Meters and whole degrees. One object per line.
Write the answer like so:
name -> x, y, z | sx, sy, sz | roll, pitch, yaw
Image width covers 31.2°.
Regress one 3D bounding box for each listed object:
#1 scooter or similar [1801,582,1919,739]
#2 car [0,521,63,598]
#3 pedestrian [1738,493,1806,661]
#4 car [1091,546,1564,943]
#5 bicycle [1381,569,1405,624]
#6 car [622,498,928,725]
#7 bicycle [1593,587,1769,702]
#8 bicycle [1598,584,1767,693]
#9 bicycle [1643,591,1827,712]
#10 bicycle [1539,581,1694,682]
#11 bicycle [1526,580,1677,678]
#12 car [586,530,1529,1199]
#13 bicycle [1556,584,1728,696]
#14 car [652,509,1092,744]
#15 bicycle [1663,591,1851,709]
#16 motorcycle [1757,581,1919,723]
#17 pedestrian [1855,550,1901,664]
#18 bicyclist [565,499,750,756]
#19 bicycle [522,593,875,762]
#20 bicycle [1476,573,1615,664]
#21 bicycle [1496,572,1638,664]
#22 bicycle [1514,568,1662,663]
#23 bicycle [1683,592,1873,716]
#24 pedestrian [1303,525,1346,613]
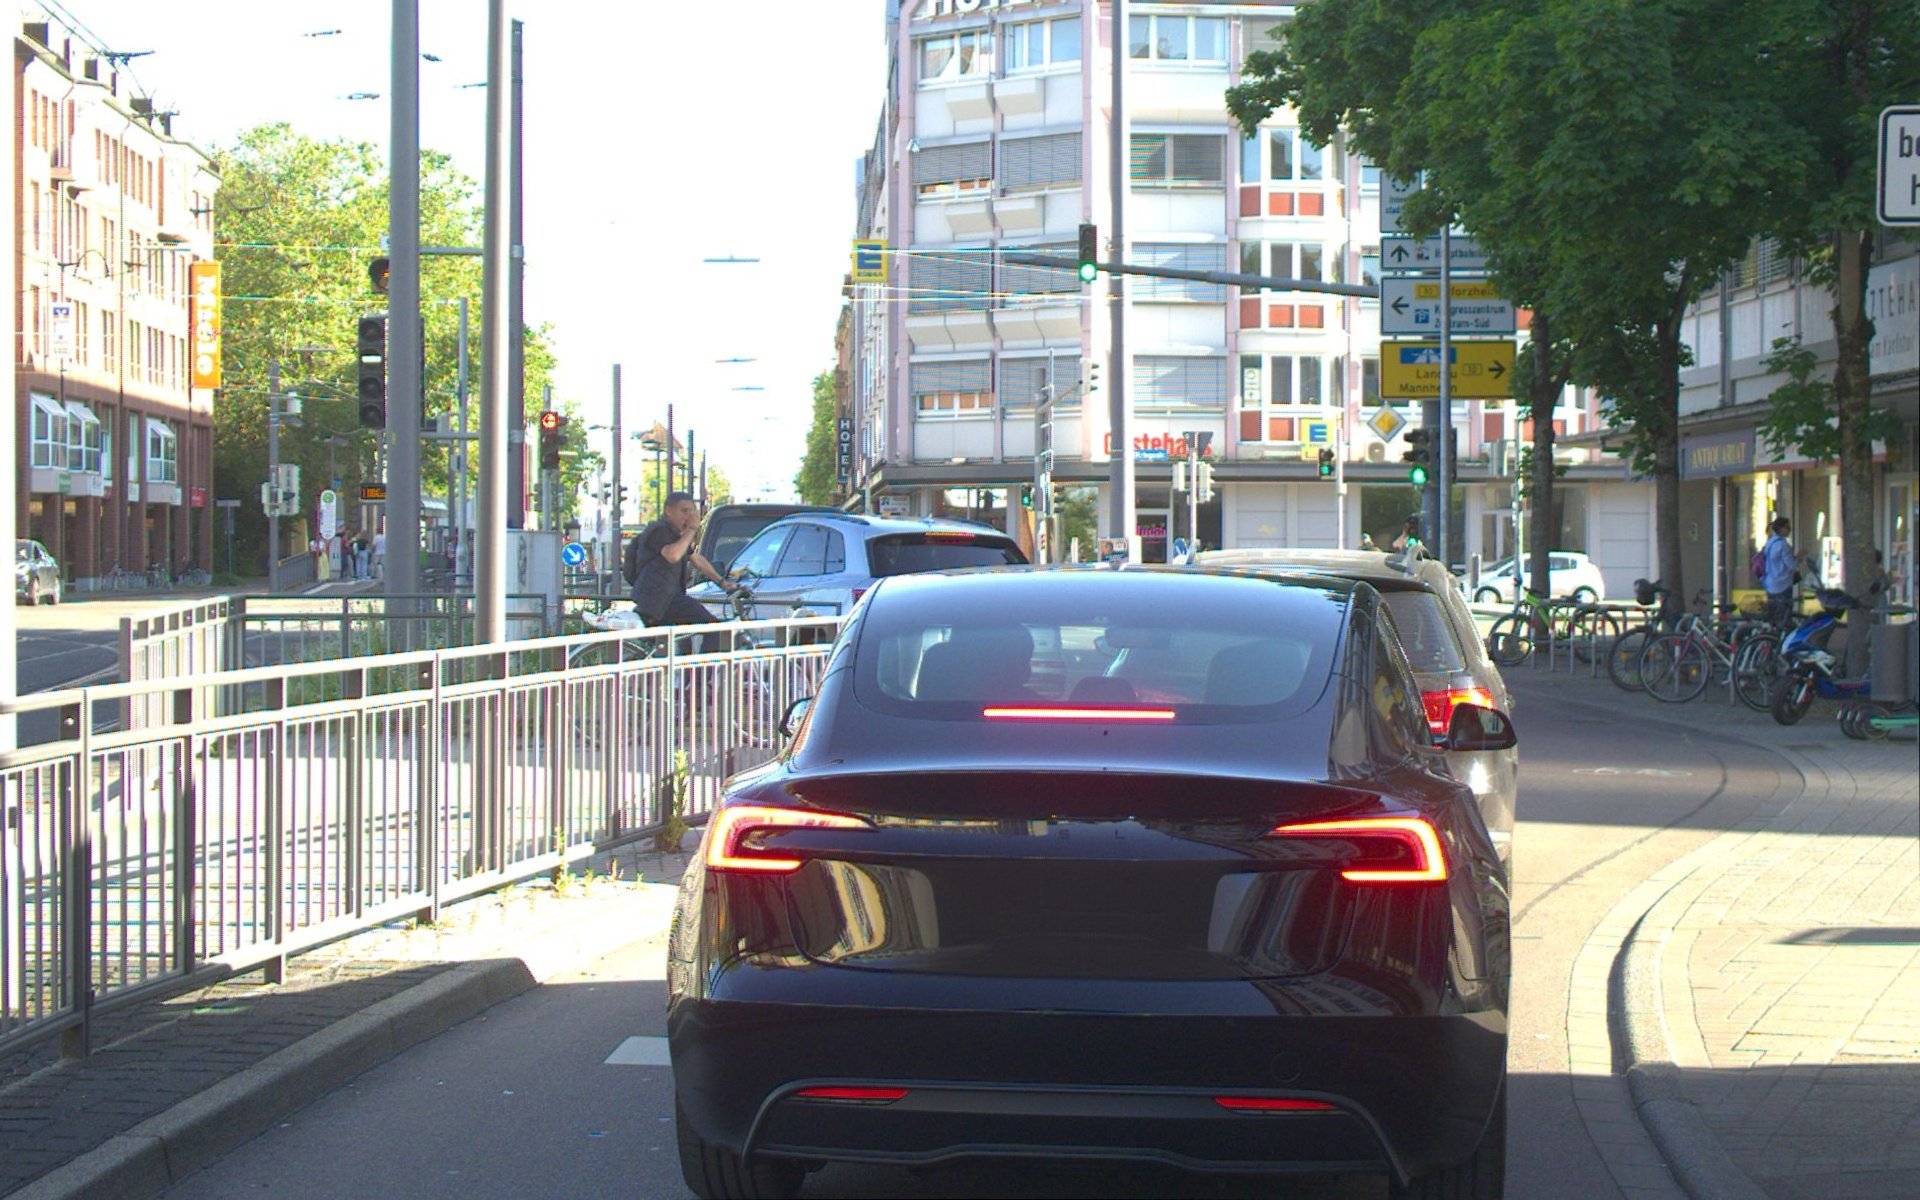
scooter or similar -> 7.558, 0.474, 27.181 | 1.644, 1.211, 0.644 | 1, 0, 30
car -> -21.777, -0.927, 78.646 | 1.697, 1.725, 3.707 | 1, 1, -3
pedestrian -> 9.819, -0.278, 41.577 | 0.662, 2.007, 0.579 | 1, 0, 2
car -> 1.584, 0.510, 14.946 | 1.751, 1.449, 3.999 | 1, 1, 6
bicycle -> 8.129, -0.073, 64.552 | 0.332, 1.030, 1.256 | 1, 0, 3
car -> -1.828, 0.077, 32.618 | 1.993, 2.007, 4.001 | 0, 1, -17
bicycle -> 7.000, 0.434, 33.392 | 1.649, 1.095, 0.350 | 1, 0, -10
bicycle -> 7.419, 0.393, 35.340 | 1.650, 1.095, 0.350 | 1, 0, 1
bicycle -> 7.182, 0.477, 31.865 | 1.649, 1.095, 0.350 | 1, 0, -10
bicycle -> 7.310, 0.343, 38.293 | 1.650, 1.095, 0.350 | 1, 0, 1
bicycle -> 7.330, 0.330, 39.319 | 1.650, 1.095, 0.350 | 1, 0, 1
car -> 0.333, 0.583, 8.718 | 1.829, 1.450, 3.999 | 1, 1, 4
bicycle -> 6.786, 0.399, 34.233 | 1.649, 1.095, 0.350 | 1, 0, -10
car -> -0.777, 0.166, 26.550 | 1.883, 1.656, 4.159 | 1, 1, -25
bicycle -> 7.288, 0.458, 31.441 | 1.649, 1.057, 0.350 | 1, 0, -10
motorcycle -> 7.714, 0.445, 29.256 | 1.707, 1.169, 0.541 | 1, 0, -2
pedestrian -> 10.886, 0.082, 40.772 | 0.389, 1.339, 0.513 | 1, 0, 2
bicyclist -> -1.960, 0.167, 22.256 | 0.758, 1.623, 0.978 | 0, 1, -39
bicycle -> -1.690, 0.490, 22.500 | 2.329, 1.050, 0.631 | 0, 1, -38
bicycle -> 7.232, 0.222, 42.472 | 1.650, 1.095, 0.350 | 1, 0, 1
bicycle -> 7.300, 0.213, 41.378 | 1.650, 1.095, 0.350 | 0, 1, 1
bicycle -> 7.364, 0.179, 40.332 | 1.650, 1.095, 0.350 | 1, 0, 1
bicycle -> 7.384, 0.488, 31.019 | 1.649, 1.095, 0.350 | 1, 0, -10
pedestrian -> 6.920, -0.584, 65.346 | 0.699, 1.656, 0.777 | 1, 0, -1
